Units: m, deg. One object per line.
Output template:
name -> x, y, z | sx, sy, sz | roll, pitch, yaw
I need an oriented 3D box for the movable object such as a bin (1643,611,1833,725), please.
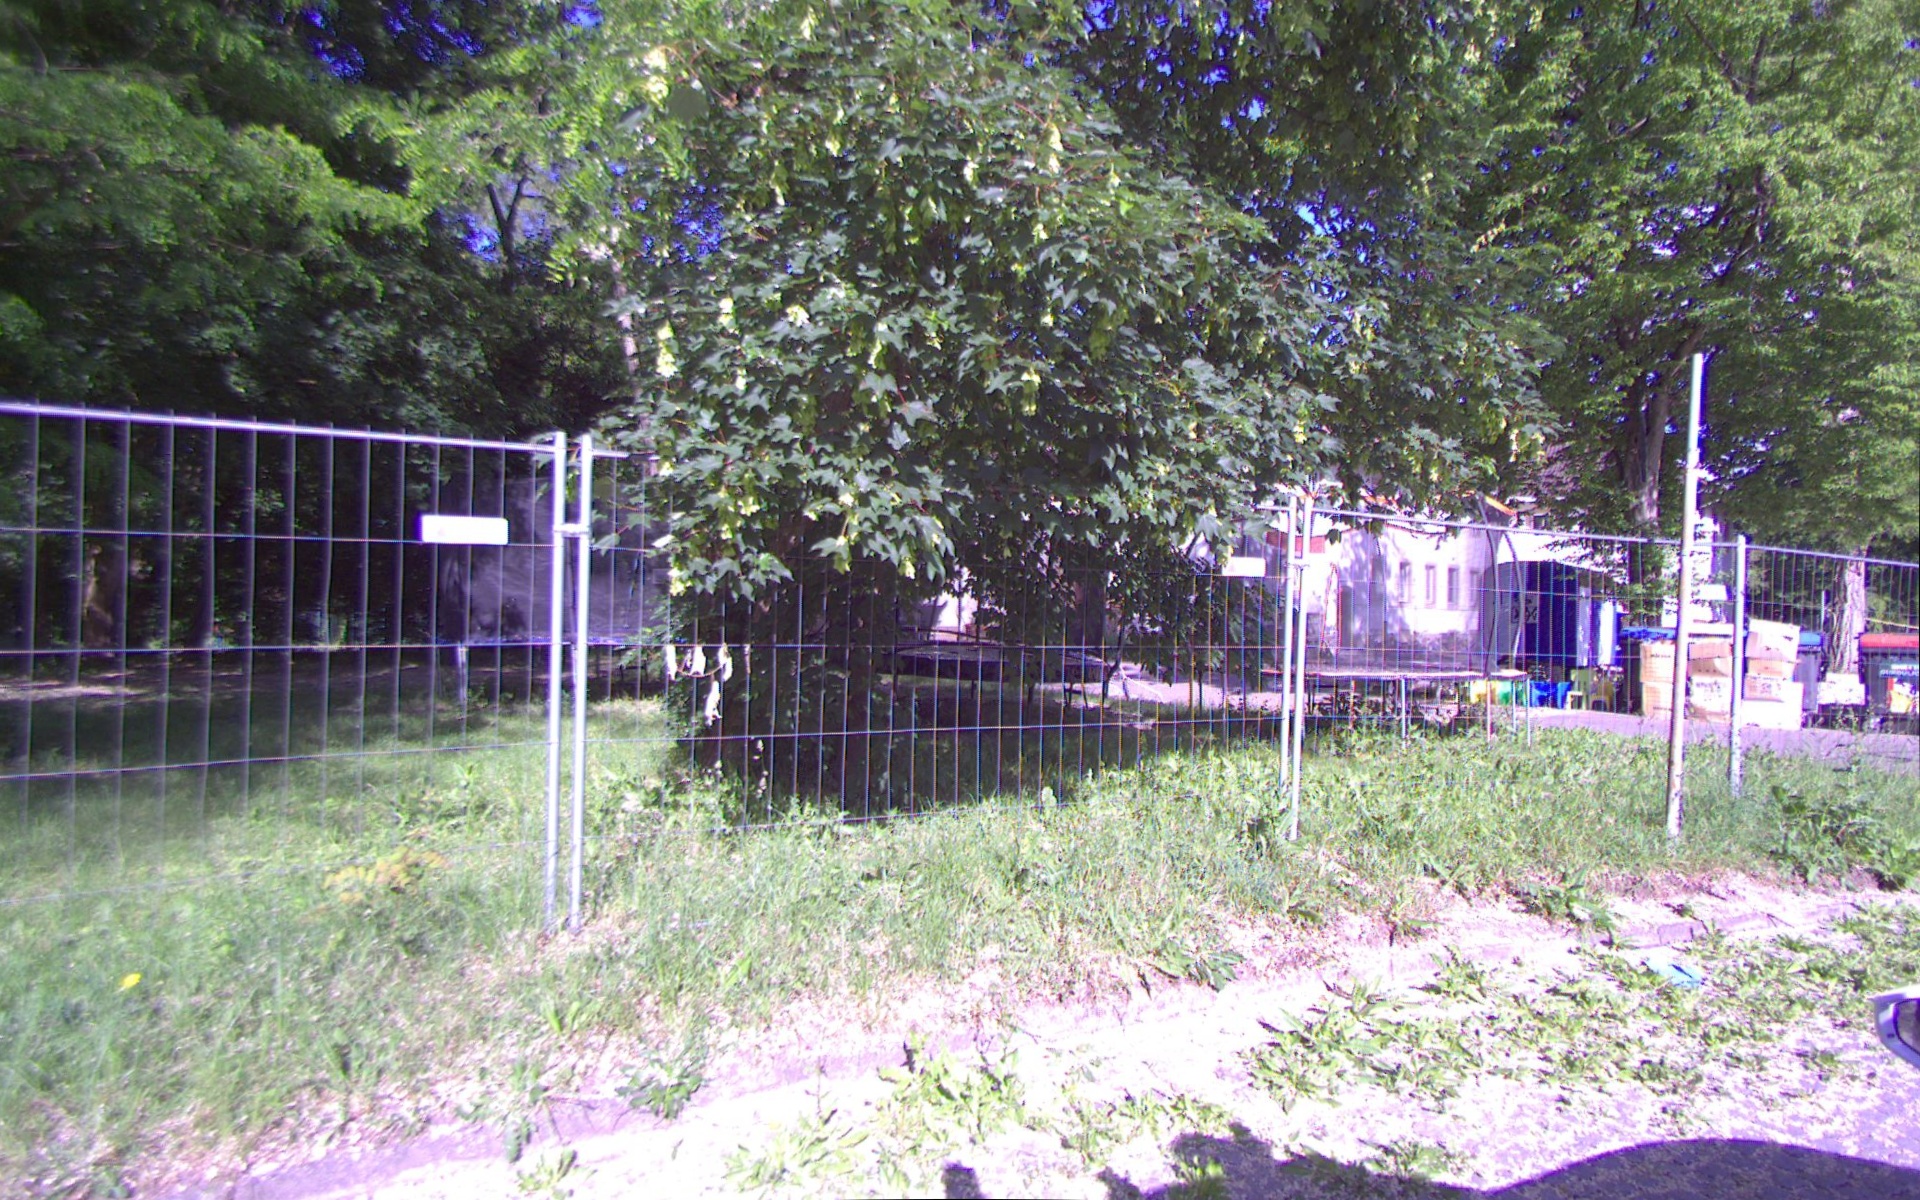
movable object such as a bin -> 12.063, 1.003, 15.632 | 2.262, 1.612, 1.169 | 0, -1, 41

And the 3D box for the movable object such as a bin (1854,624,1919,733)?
movable object such as a bin -> 13.666, 1.110, 14.330 | 1.322, 1.504, 0.803 | 1, -1, 41

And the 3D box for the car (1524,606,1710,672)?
car -> 20.594, 1.216, 31.607 | 4.658, 1.927, 1.989 | -1, -3, 43
